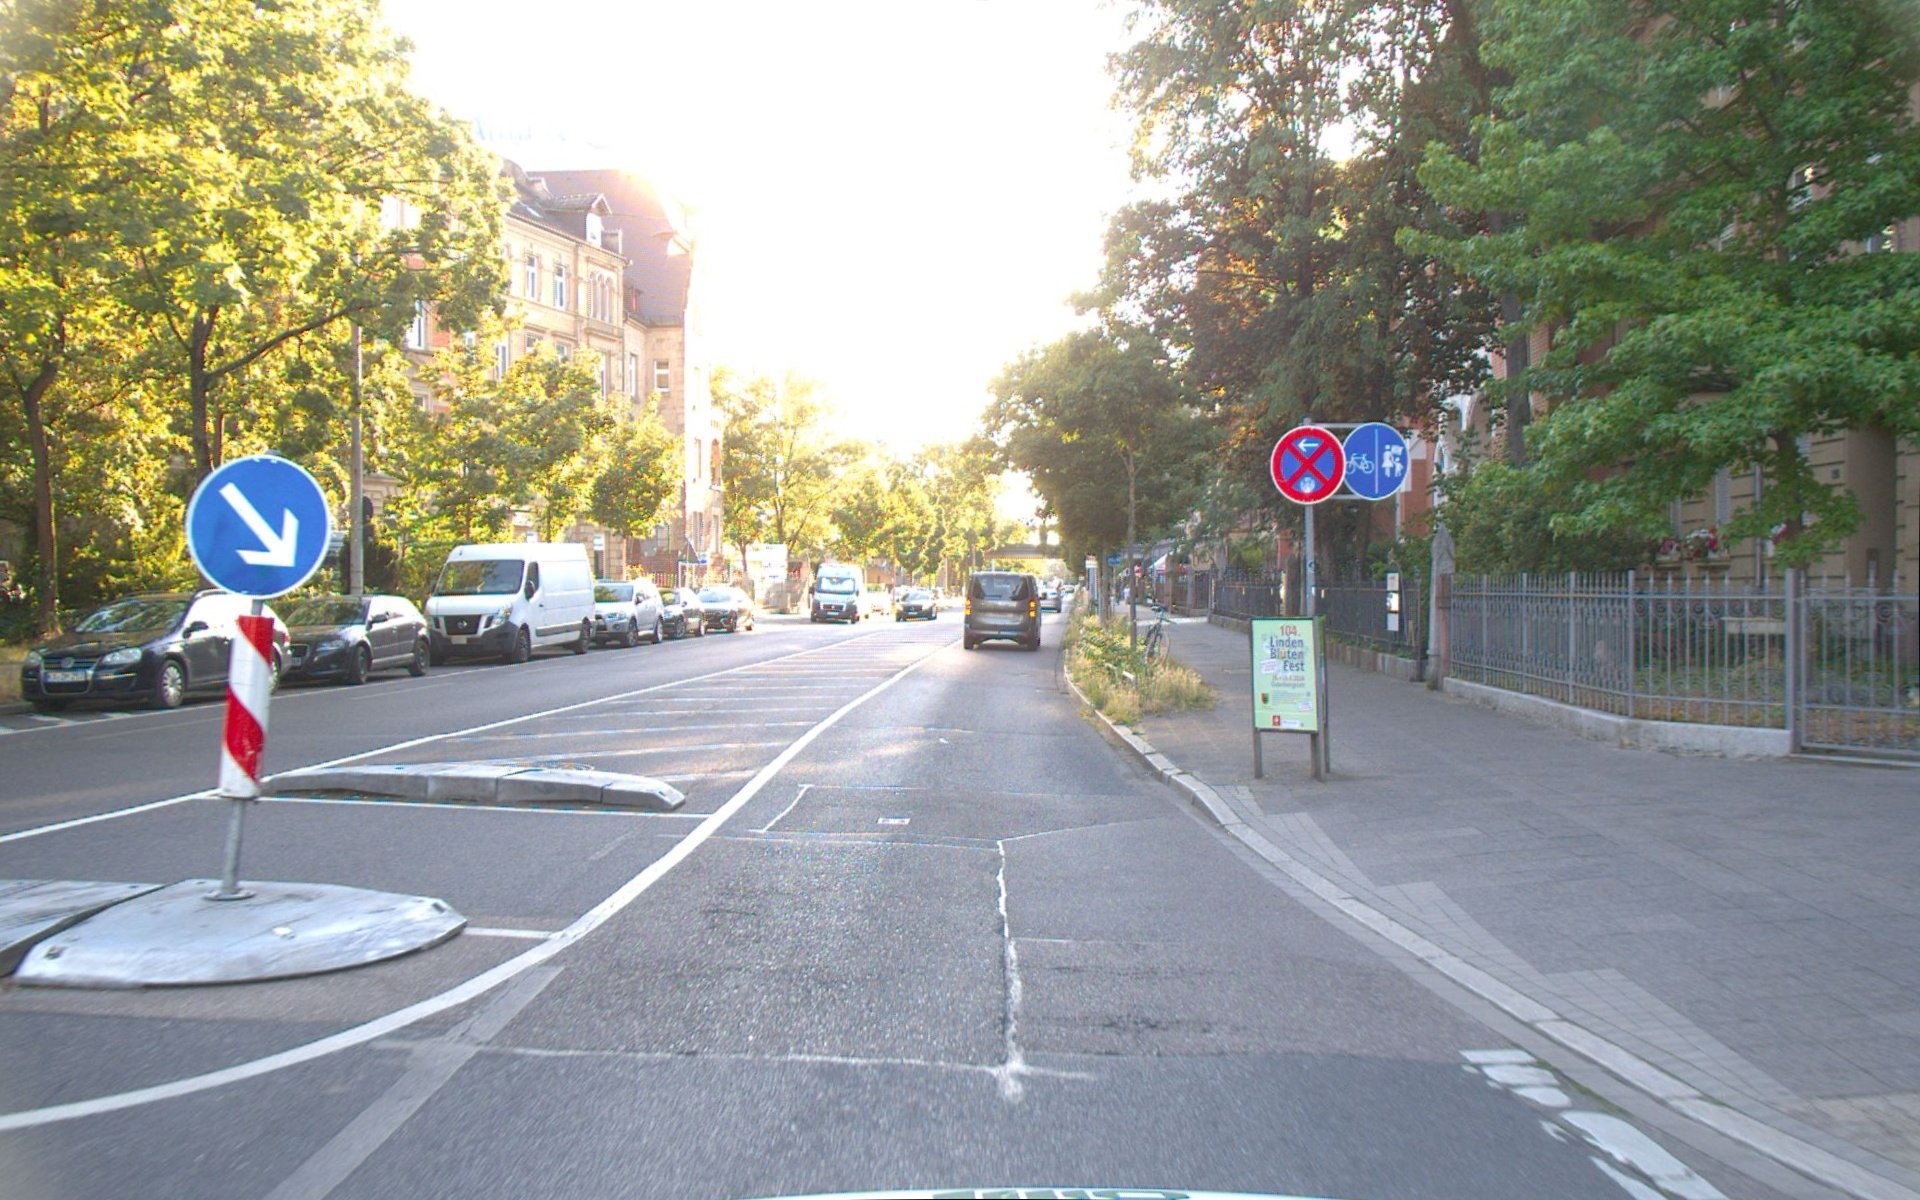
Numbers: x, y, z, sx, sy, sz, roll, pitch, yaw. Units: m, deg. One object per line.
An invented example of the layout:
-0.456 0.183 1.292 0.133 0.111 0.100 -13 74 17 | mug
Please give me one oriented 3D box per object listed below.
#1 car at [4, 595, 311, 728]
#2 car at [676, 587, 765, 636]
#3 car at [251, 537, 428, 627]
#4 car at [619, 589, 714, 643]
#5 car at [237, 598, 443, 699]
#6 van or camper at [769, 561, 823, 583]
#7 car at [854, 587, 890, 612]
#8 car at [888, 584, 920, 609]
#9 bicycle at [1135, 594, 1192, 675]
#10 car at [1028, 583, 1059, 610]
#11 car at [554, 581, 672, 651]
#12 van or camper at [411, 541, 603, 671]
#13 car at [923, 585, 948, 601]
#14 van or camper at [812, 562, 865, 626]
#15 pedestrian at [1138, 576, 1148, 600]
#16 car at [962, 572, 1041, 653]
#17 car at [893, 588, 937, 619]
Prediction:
-10.490 0.730 22.039 1.589 1.533 4.546 -1 1 4 | car
-7.872 0.355 54.848 1.952 1.509 4.832 0 1 4 | car
-20.254 -0.617 54.241 2.079 2.787 5.302 -1 1 29 | car
-8.539 0.443 48.464 1.699 1.471 4.627 0 1 4 | car
-10.181 0.748 27.491 1.594 1.454 4.244 -1 1 3 | car
-20.573 -3.509 208.008 6.426 2.566 2.450 2 1 2 | van or camper
-4.759 -0.020 89.681 1.504 1.270 3.616 2 1 3 | car
-3.521 -0.253 104.648 1.661 1.477 4.002 2 1 3 | car
3.186 0.523 26.051 0.633 1.187 1.931 1 1 0 | bicycle
5.437 -0.237 108.078 1.952 1.662 4.002 0 1 3 | car
-8.912 0.372 42.861 1.826 1.673 4.573 -1 1 3 | car
-9.591 0.071 35.659 2.047 2.511 6.308 -1 1 3 | van or camper
-2.281 -0.665 156.218 1.952 1.439 4.239 2 1 4 | car
-5.493 -0.302 75.440 1.953 2.715 6.038 2 1 0 | van or camper
12.965 -0.878 117.164 0.631 1.661 0.656 2 0 4 | pedestrian
1.104 0.279 42.106 1.848 1.958 3.841 -1 1 3 | car
-2.217 0.148 82.012 1.729 1.426 4.547 -1 1 4 | car
